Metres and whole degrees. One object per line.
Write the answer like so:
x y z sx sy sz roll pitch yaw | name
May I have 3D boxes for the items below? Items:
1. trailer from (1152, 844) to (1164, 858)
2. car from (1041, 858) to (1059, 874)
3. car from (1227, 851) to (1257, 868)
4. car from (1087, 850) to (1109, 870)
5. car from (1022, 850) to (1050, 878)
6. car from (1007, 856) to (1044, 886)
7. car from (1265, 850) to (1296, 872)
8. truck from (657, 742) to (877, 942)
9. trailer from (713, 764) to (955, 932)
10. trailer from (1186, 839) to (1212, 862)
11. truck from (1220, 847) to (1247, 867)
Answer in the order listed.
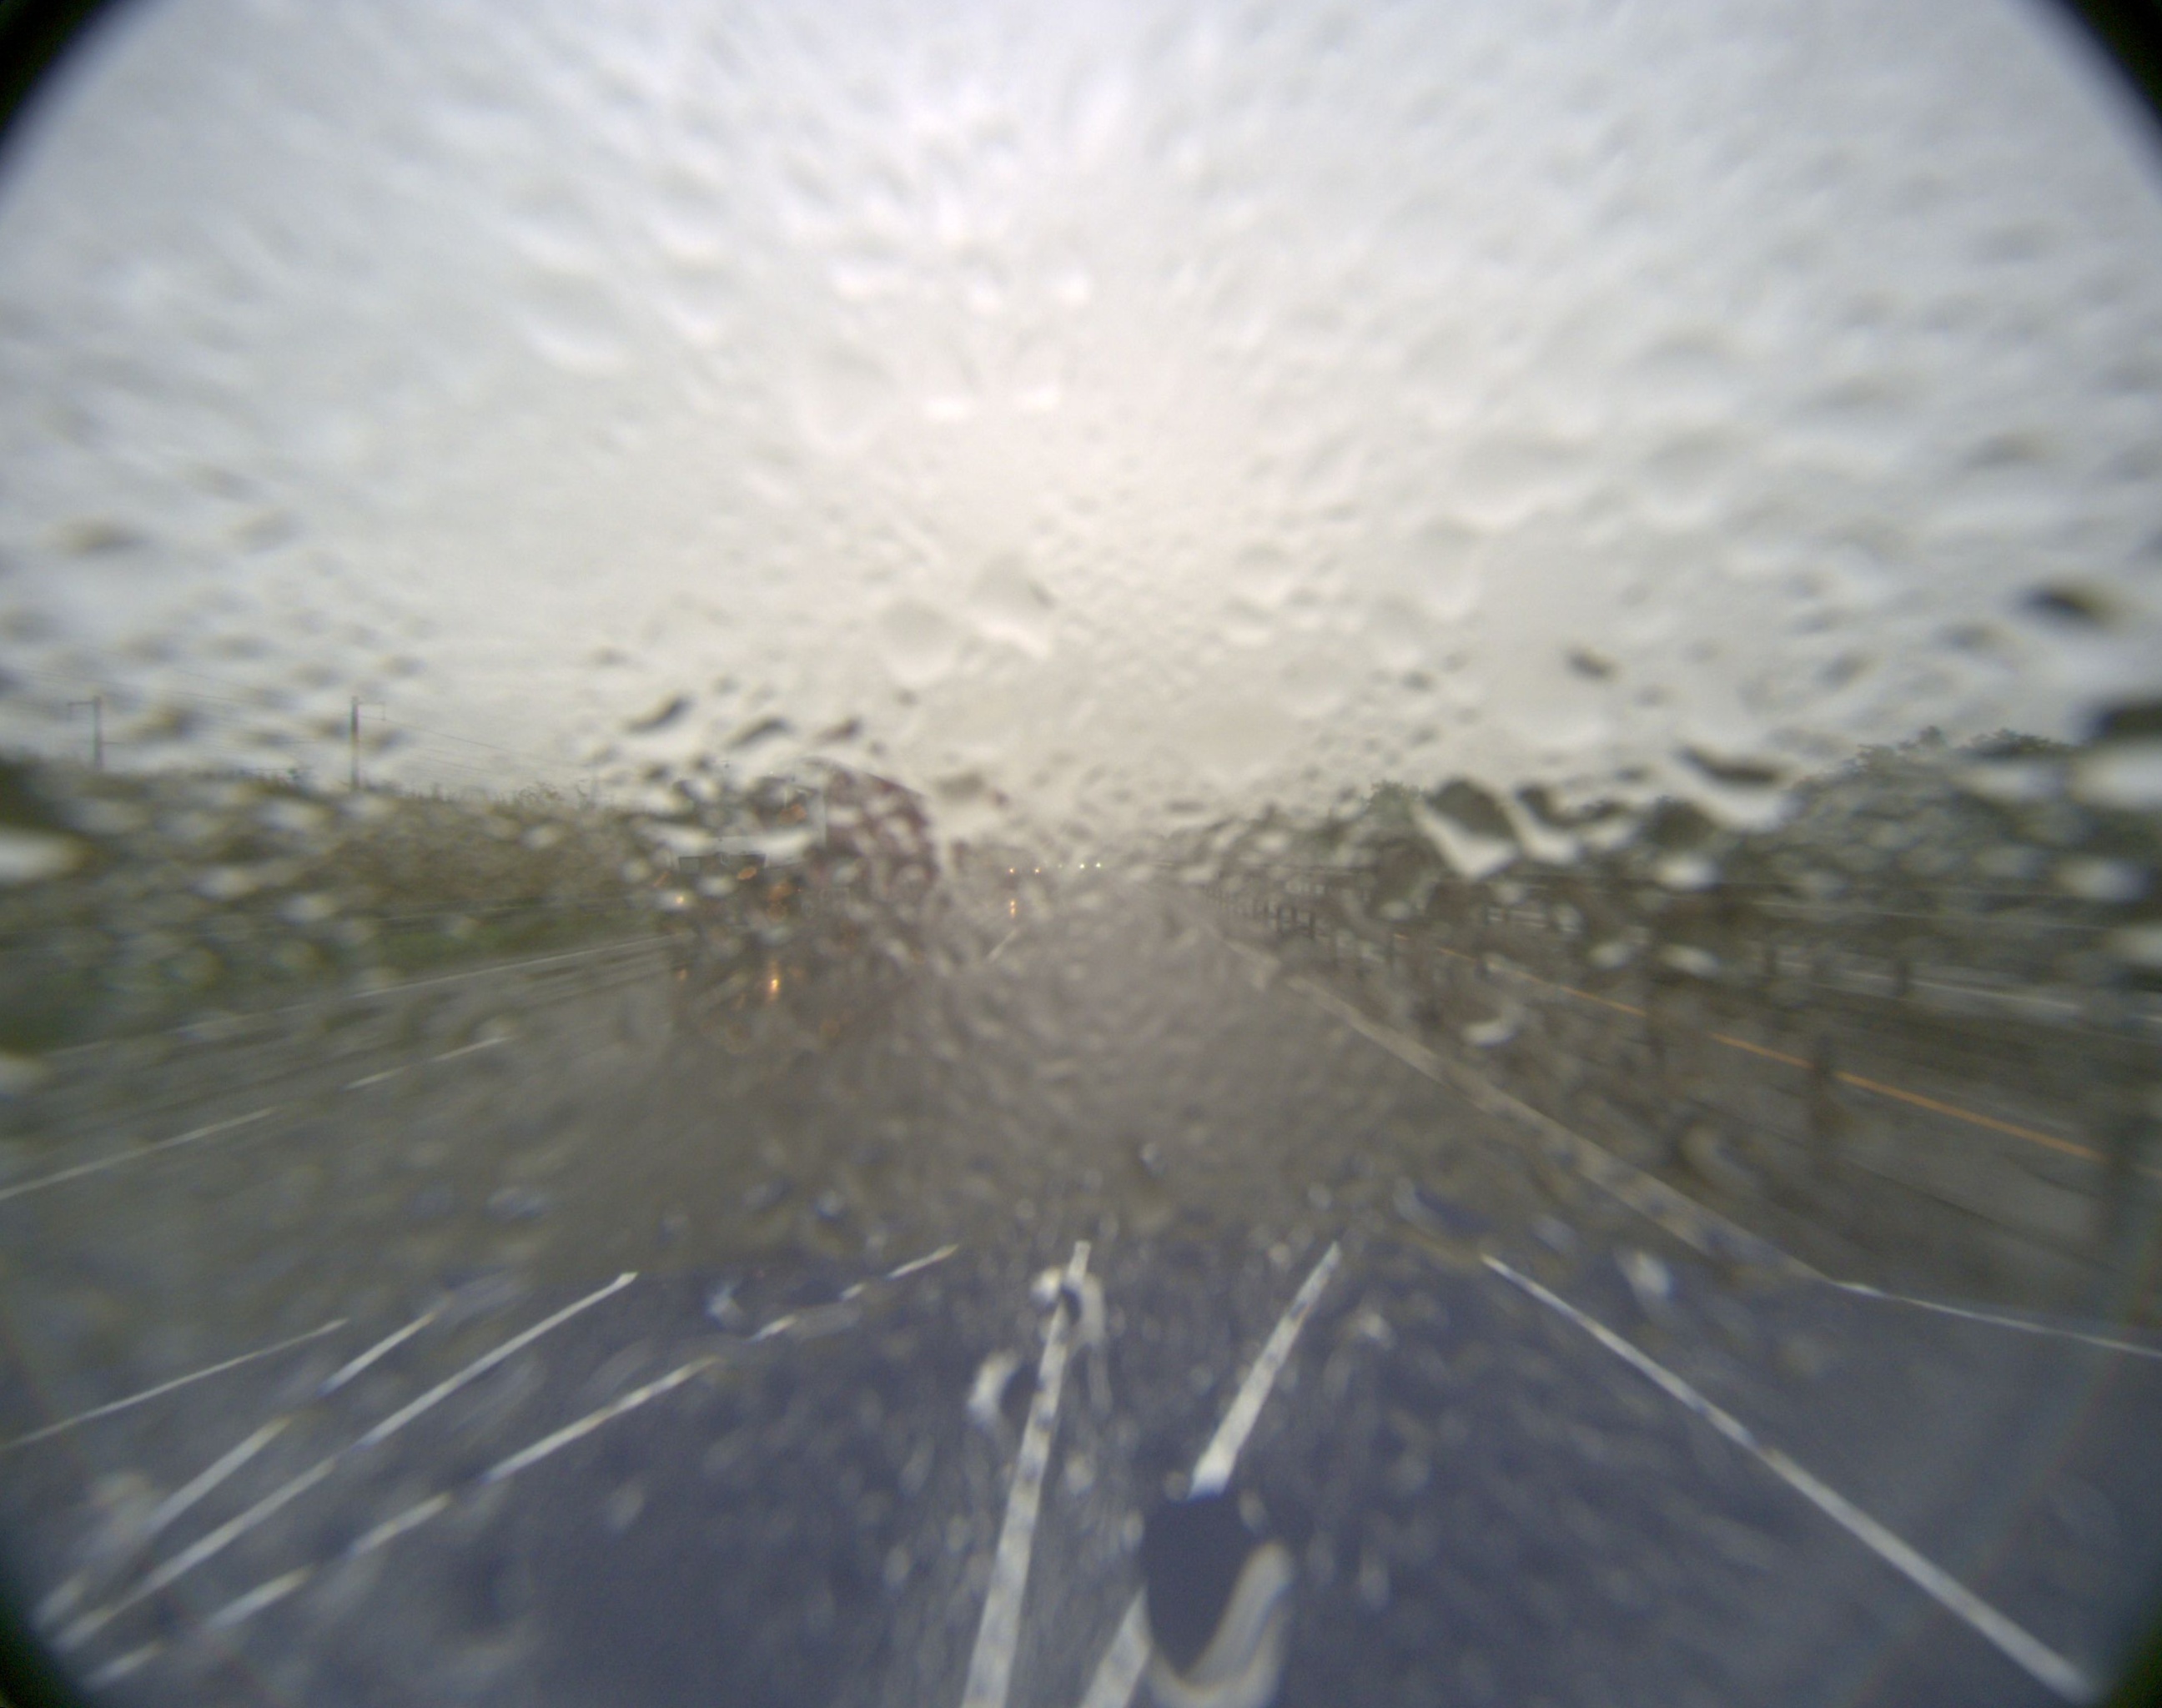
22.062 -0.891 219.035 2.301 3.782 13.611 -2 0 1 | trailer
-3.532 1.336 86.759 1.845 1.671 4.000 -2 0 0 | car
15.963 0.526 75.554 1.998 1.522 4.654 -2 0 0 | car
1.544 0.491 68.714 1.845 1.671 4.000 -2 0 0 | car
-2.742 0.610 47.186 1.517 1.606 3.186 -2 0 0 | car
-3.010 0.884 41.792 1.663 1.491 3.836 -2 0 1 | car
20.030 0.654 76.443 1.998 2.092 4.385 -2 0 0 | car
-7.027 -0.236 18.114 2.457 3.866 6.199 -2 0 1 | truck
-7.000 -0.148 25.581 2.486 3.743 16.543 -2 0 0 | trailer
21.241 -0.579 137.529 2.640 3.782 13.584 -2 0 1 | trailer
20.583 0.370 102.772 2.333 2.604 6.263 -2 0 0 | truck
